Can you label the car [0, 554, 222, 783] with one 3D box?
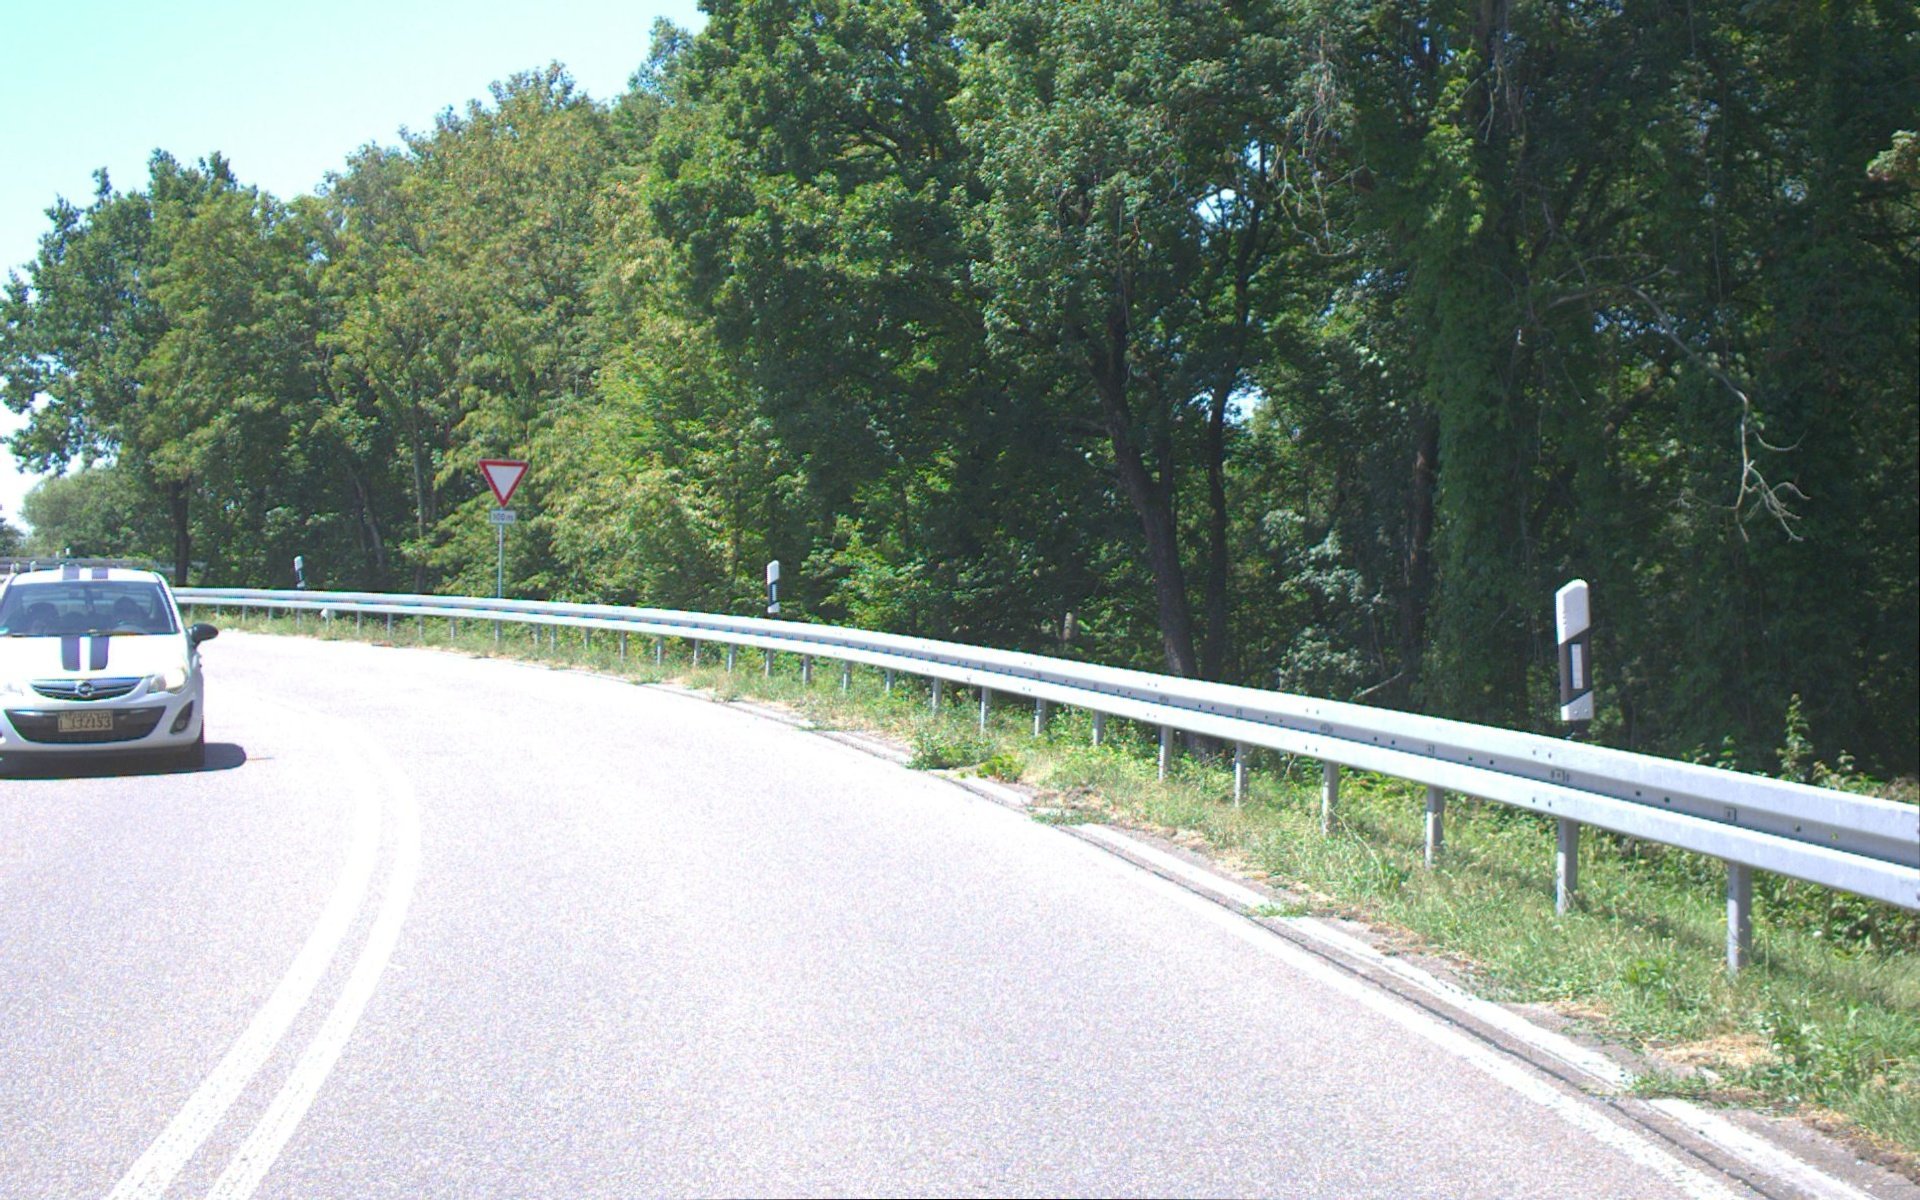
[{"bbox_3d":[-6.620,0.456,26.107,1.822,1.501,4.173,-2,2,-14],"label":"car"}]
